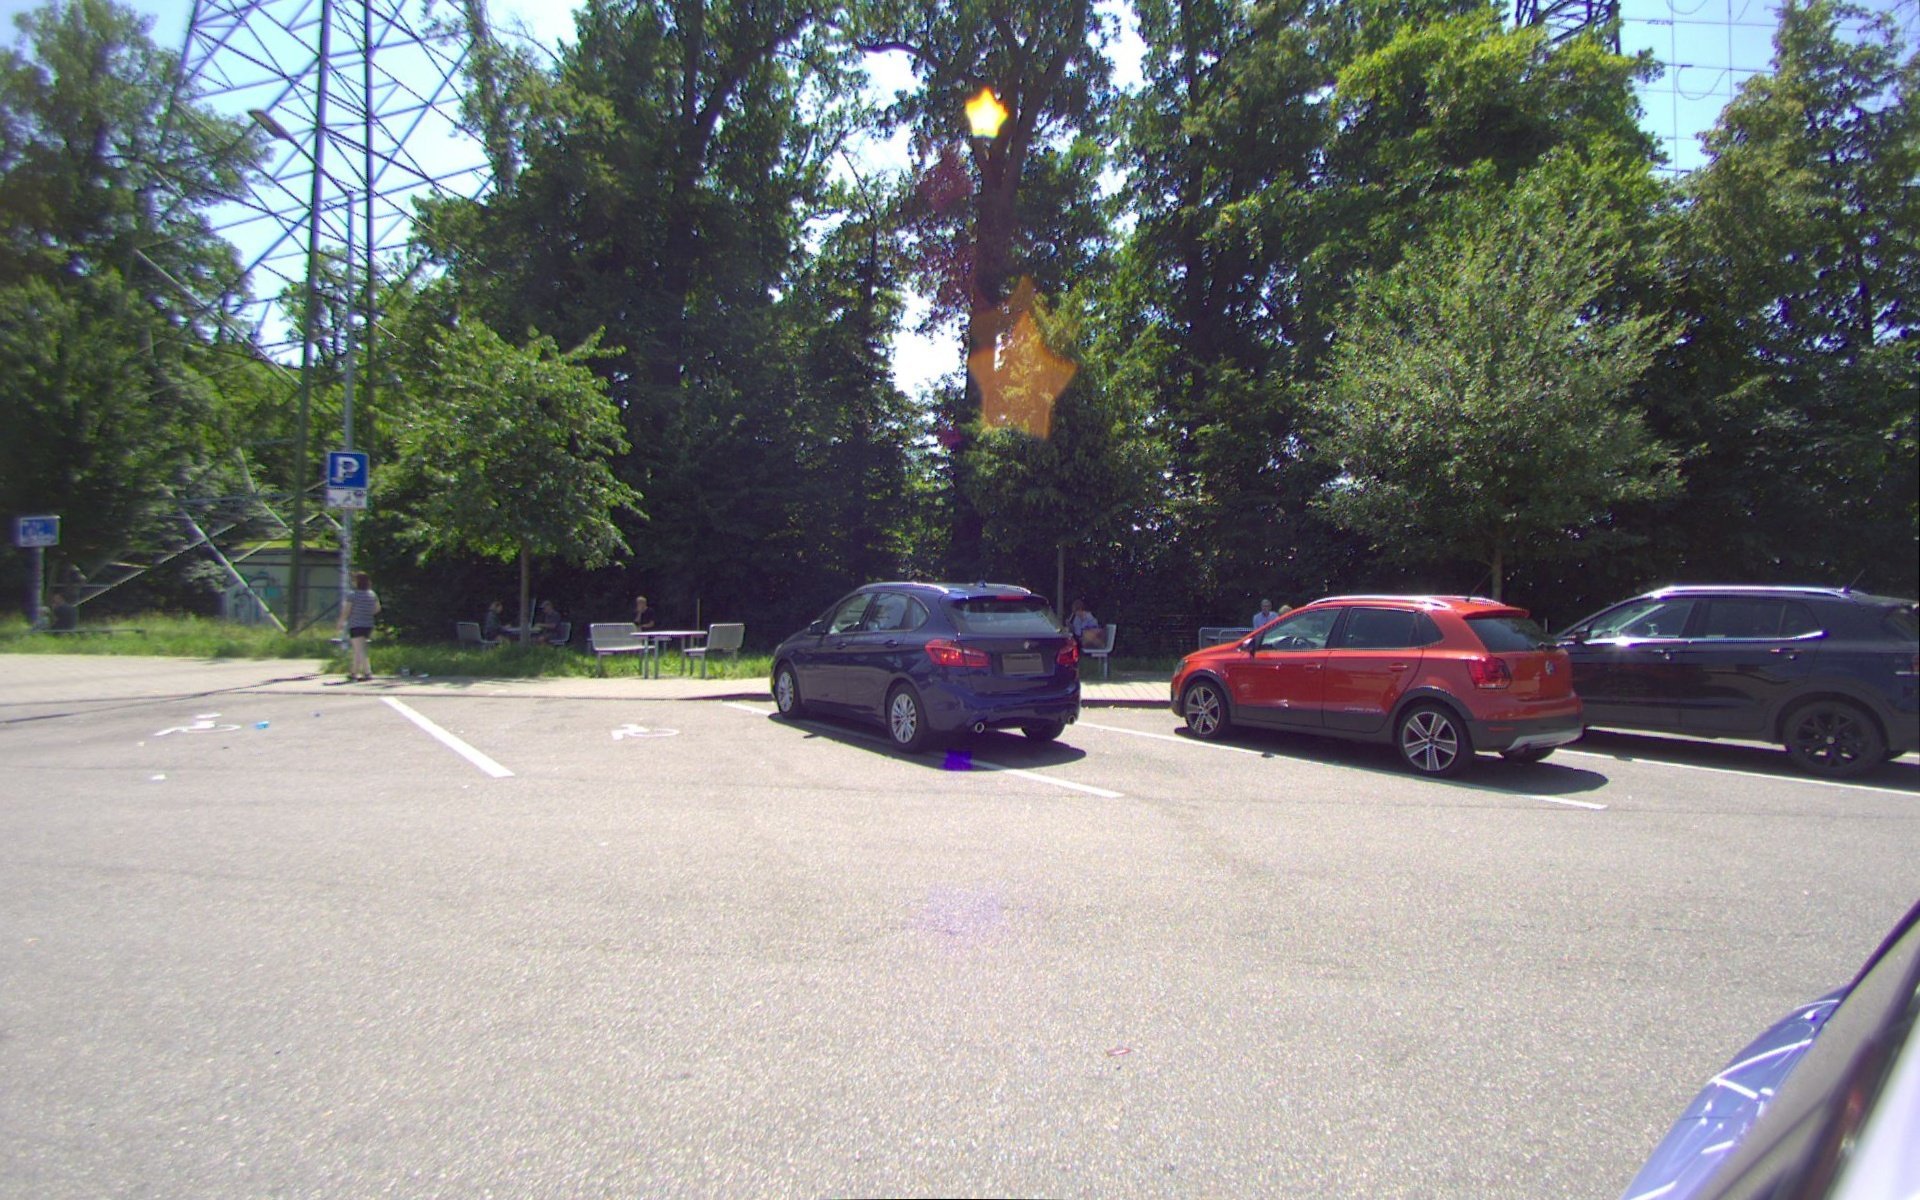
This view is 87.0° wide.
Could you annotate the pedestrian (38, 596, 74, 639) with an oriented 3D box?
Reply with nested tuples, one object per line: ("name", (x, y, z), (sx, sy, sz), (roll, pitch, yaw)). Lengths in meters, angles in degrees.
("pedestrian", (-20.954, 0.396, 23.460), (0.452, 0.987, 0.447), (0, 0, -2))

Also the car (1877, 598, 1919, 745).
("car", (10.896, 0.698, 9.017), (1.620, 1.420, 3.826), (0, 0, -37))

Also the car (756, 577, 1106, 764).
("car", (-0.542, 0.547, 10.793), (1.714, 1.572, 4.347), (0, 1, -33))

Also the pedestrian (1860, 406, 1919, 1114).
("pedestrian", (3.021, 0.449, 2.518), (0.801, 1.974, 0.917), (0, 0, 12))

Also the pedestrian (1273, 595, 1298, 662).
("pedestrian", (5.769, 0.500, 17.956), (0.350, 1.180, 0.384), (0, 0, 8))

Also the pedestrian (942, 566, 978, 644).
("pedestrian", (0.012, 0.106, 21.565), (0.566, 1.625, 0.642), (0, 0, 22))

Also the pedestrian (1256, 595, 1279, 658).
("pedestrian", (5.817, 0.489, 19.132), (0.350, 1.180, 0.384), (0, 0, 8))

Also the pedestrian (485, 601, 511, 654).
("pedestrian", (-10.436, 0.612, 22.862), (0.452, 1.182, 0.447), (0, 0, -34))

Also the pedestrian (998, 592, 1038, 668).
("pedestrian", (0.988, 0.493, 17.118), (0.586, 1.261, 0.445), (0, 0, 16))

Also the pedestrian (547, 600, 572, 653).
("pedestrian", (-9.348, 0.612, 23.603), (0.452, 1.209, 0.447), (0, 0, -34))

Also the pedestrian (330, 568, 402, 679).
("pedestrian", (-9.183, 0.347, 15.645), (0.707, 1.670, 0.682), (0, 0, 24))

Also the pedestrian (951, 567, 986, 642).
("pedestrian", (0.192, 0.099, 22.248), (0.566, 1.625, 0.642), (0, 0, 22))

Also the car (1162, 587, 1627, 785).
("car", (3.880, 0.630, 9.654), (1.619, 1.487, 3.830), (0, 0, -33))

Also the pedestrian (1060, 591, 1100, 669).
("pedestrian", (2.001, 0.490, 16.862), (0.586, 1.261, 0.498), (0, 0, 16))

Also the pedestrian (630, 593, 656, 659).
("pedestrian", (-6.689, 0.543, 21.350), (0.438, 1.363, 0.462), (0, 0, -5))

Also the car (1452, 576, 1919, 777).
("car", (7.095, 0.588, 9.871), (1.620, 1.575, 3.826), (0, 0, -37))
